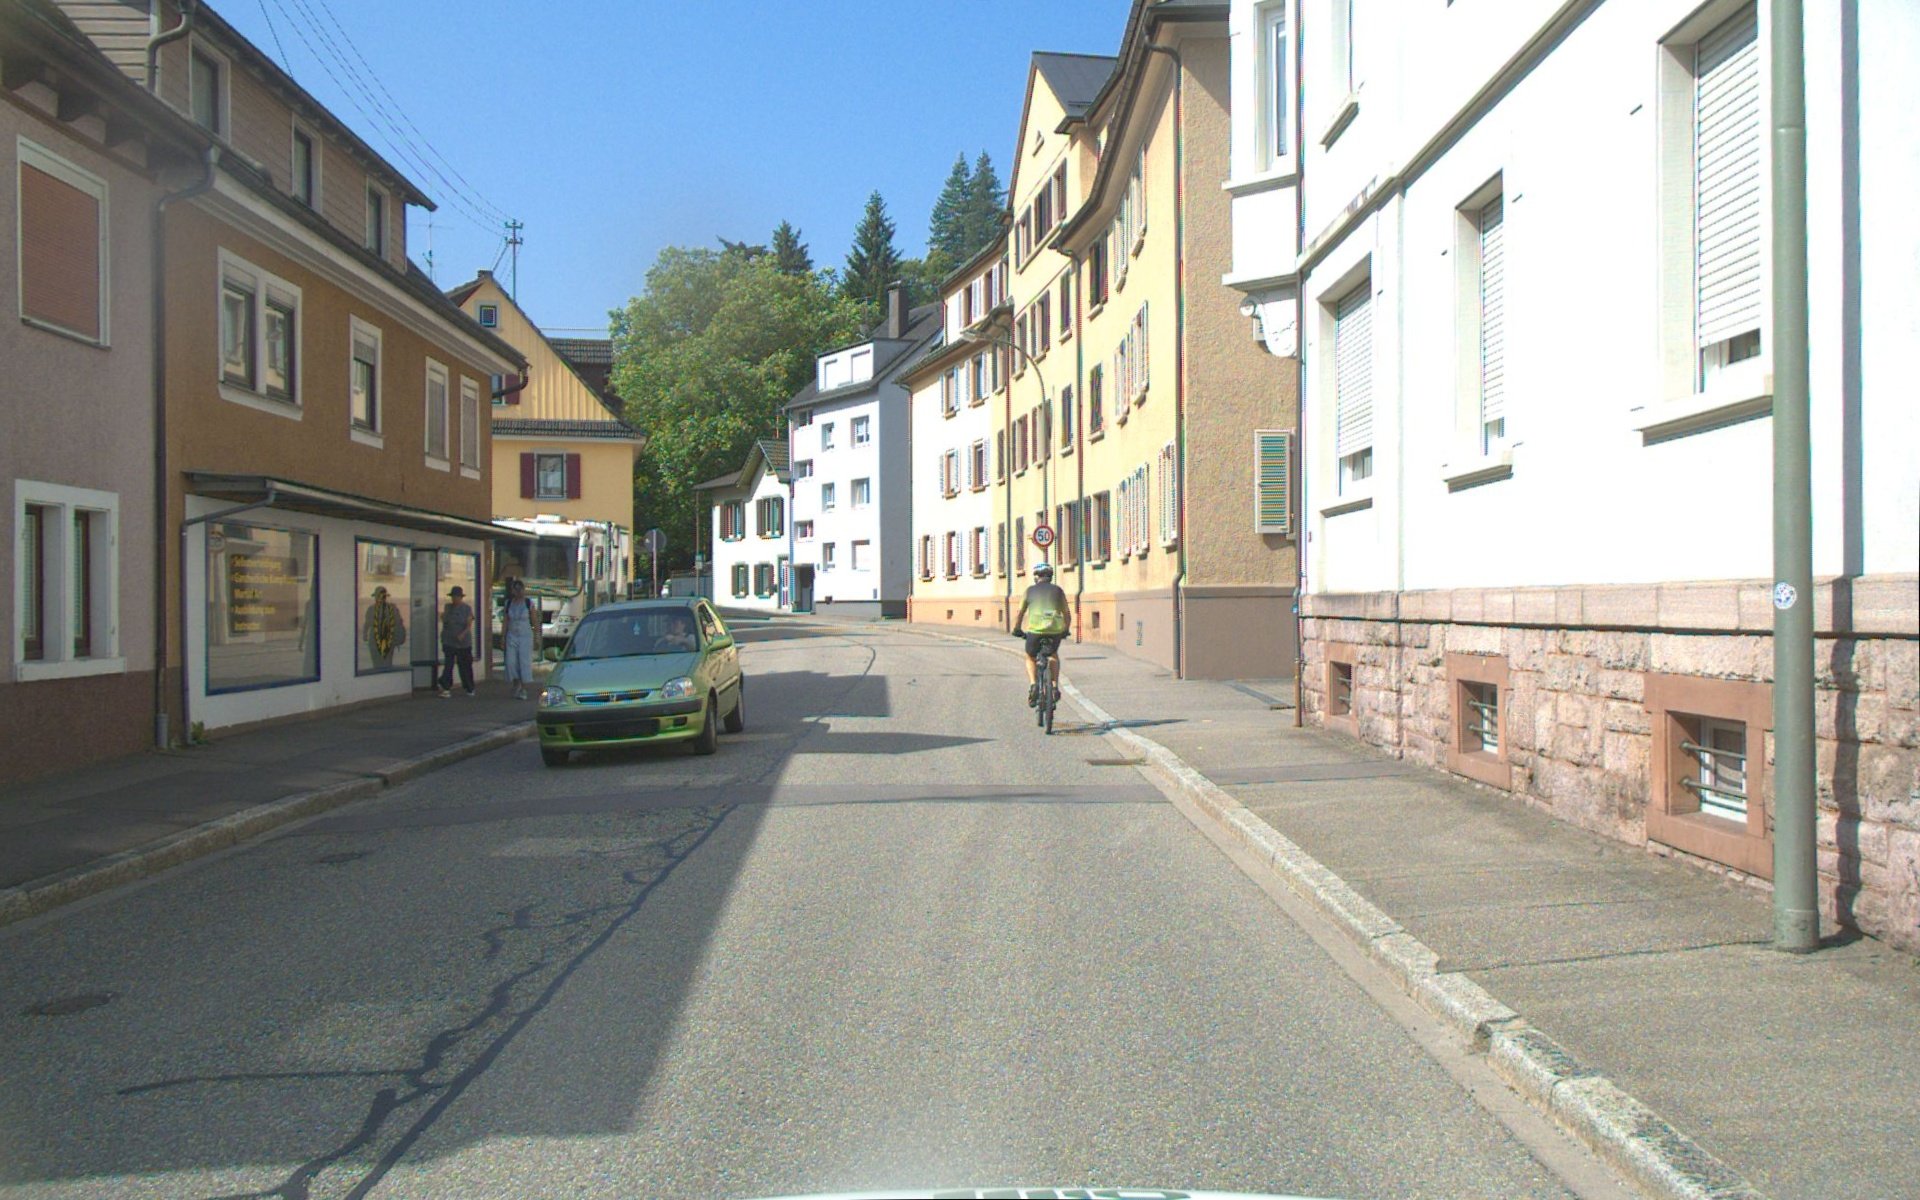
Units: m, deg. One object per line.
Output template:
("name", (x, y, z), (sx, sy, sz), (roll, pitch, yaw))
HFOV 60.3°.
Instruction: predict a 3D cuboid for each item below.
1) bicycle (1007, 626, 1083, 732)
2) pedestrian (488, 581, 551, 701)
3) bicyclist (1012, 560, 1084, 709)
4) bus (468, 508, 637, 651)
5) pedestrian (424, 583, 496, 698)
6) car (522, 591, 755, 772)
("bicycle", (0.904, 0.834, 17.945), (0.684, 1.053, 1.470), (0, 1, -3))
("pedestrian", (-6.271, 0.572, 23.572), (0.626, 1.654, 0.777), (2, 0, -1))
("bicyclist", (0.942, 0.360, 17.867), (0.672, 1.558, 0.715), (-1, 0, -3))
("bus", (-10.409, -0.502, 43.210), (2.765, 3.284, 9.028), (1, 0, -4))
("pedestrian", (-7.127, 0.568, 23.610), (0.720, 1.592, 0.824), (2, 0, -1))
("car", (-3.063, 0.704, 16.418), (1.564, 1.490, 3.659), (-4, 0, -1))
